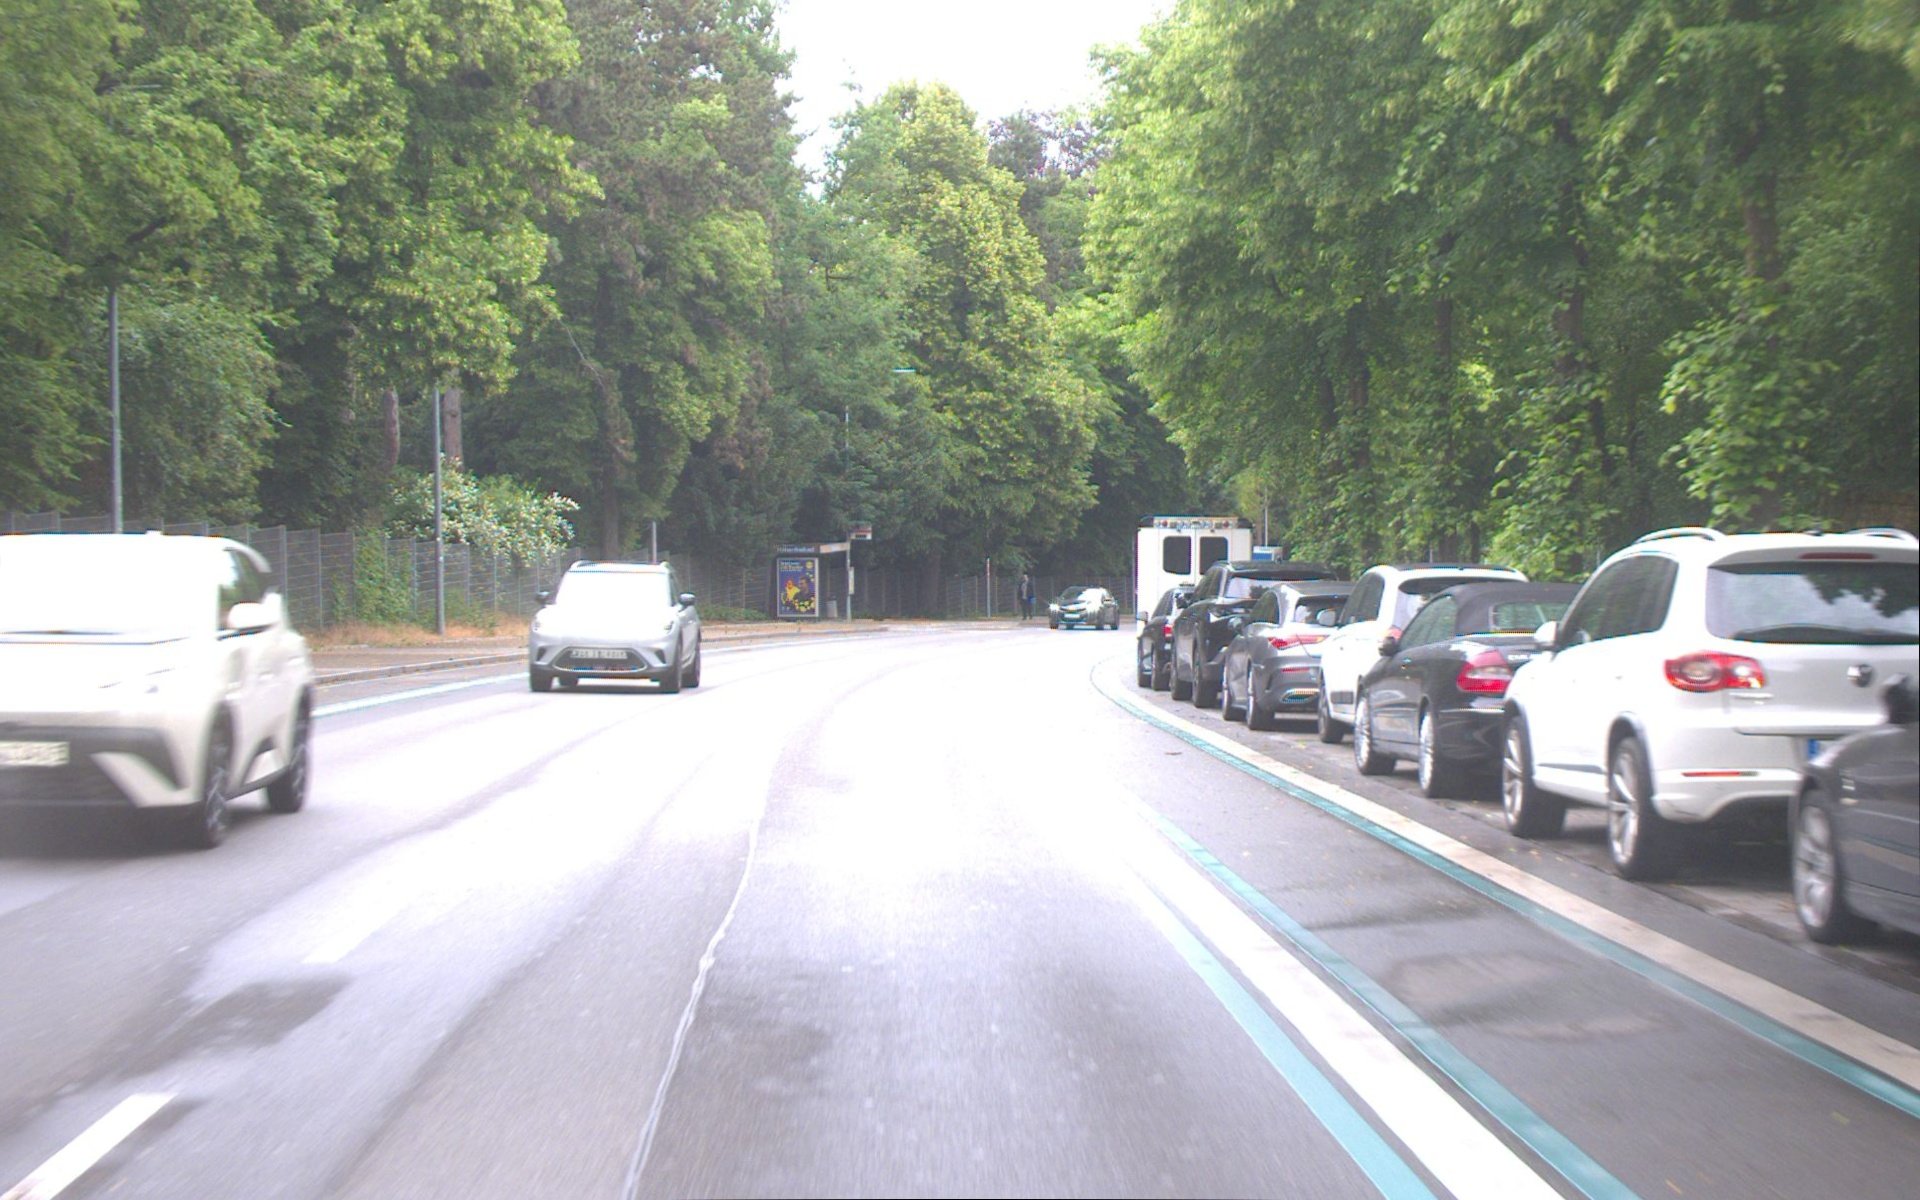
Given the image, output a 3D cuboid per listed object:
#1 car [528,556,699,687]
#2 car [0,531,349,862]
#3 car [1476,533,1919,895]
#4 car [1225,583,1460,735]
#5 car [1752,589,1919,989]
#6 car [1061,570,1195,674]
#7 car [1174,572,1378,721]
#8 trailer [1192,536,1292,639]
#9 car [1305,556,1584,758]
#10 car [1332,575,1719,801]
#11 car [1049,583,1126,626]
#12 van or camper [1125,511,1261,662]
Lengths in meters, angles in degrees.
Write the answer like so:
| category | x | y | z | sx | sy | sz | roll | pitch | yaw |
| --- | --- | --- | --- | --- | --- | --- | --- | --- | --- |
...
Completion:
| category | x | y | z | sx | sy | sz | roll | pitch | yaw |
| --- | --- | --- | --- | --- | --- | --- | --- | --- | --- |
| car | -4.314 | 0.253 | 43.350 | 1.796 | 1.571 | 4.102 | 0 | 0 | -1 |
| car | -4.465 | 0.415 | 18.019 | 1.971 | 1.546 | 3.870 | 0 | 1 | -2 |
| car | 3.912 | 0.501 | 17.518 | 1.713 | 1.613 | 4.261 | 0 | 0 | -3 |
| car | 3.626 | 0.543 | 33.288 | 1.775 | 1.343 | 4.466 | 1 | 0 | 0 |
| car | 4.178 | 0.662 | 11.929 | 1.672 | 1.389 | 4.451 | 0 | 0 | -2 |
| car | 2.306 | 0.311 | 47.968 | 1.678 | 1.371 | 4.000 | 0 | -1 | 0 |
| car | 3.642 | 0.545 | 40.308 | 1.993 | 1.639 | 4.348 | 0 | -1 | 0 |
| trailer | 7.692 | -0.334 | 93.295 | 2.317 | 2.663 | 5.374 | 1 | 0 | 8 |
| car | 3.938 | 0.439 | 28.476 | 1.661 | 1.530 | 3.741 | 1 | 0 | -1 |
| car | 3.710 | 0.576 | 23.338 | 1.718 | 1.371 | 4.559 | 0 | -1 | -2 |
| car | 4.382 | 0.150 | 117.756 | 1.761 | 1.432 | 4.148 | 1 | 0 | 15 |
| van or camper | 4.427 | -0.255 | 64.439 | 2.317 | 2.655 | 6.381 | 1 | 0 | 6 |
